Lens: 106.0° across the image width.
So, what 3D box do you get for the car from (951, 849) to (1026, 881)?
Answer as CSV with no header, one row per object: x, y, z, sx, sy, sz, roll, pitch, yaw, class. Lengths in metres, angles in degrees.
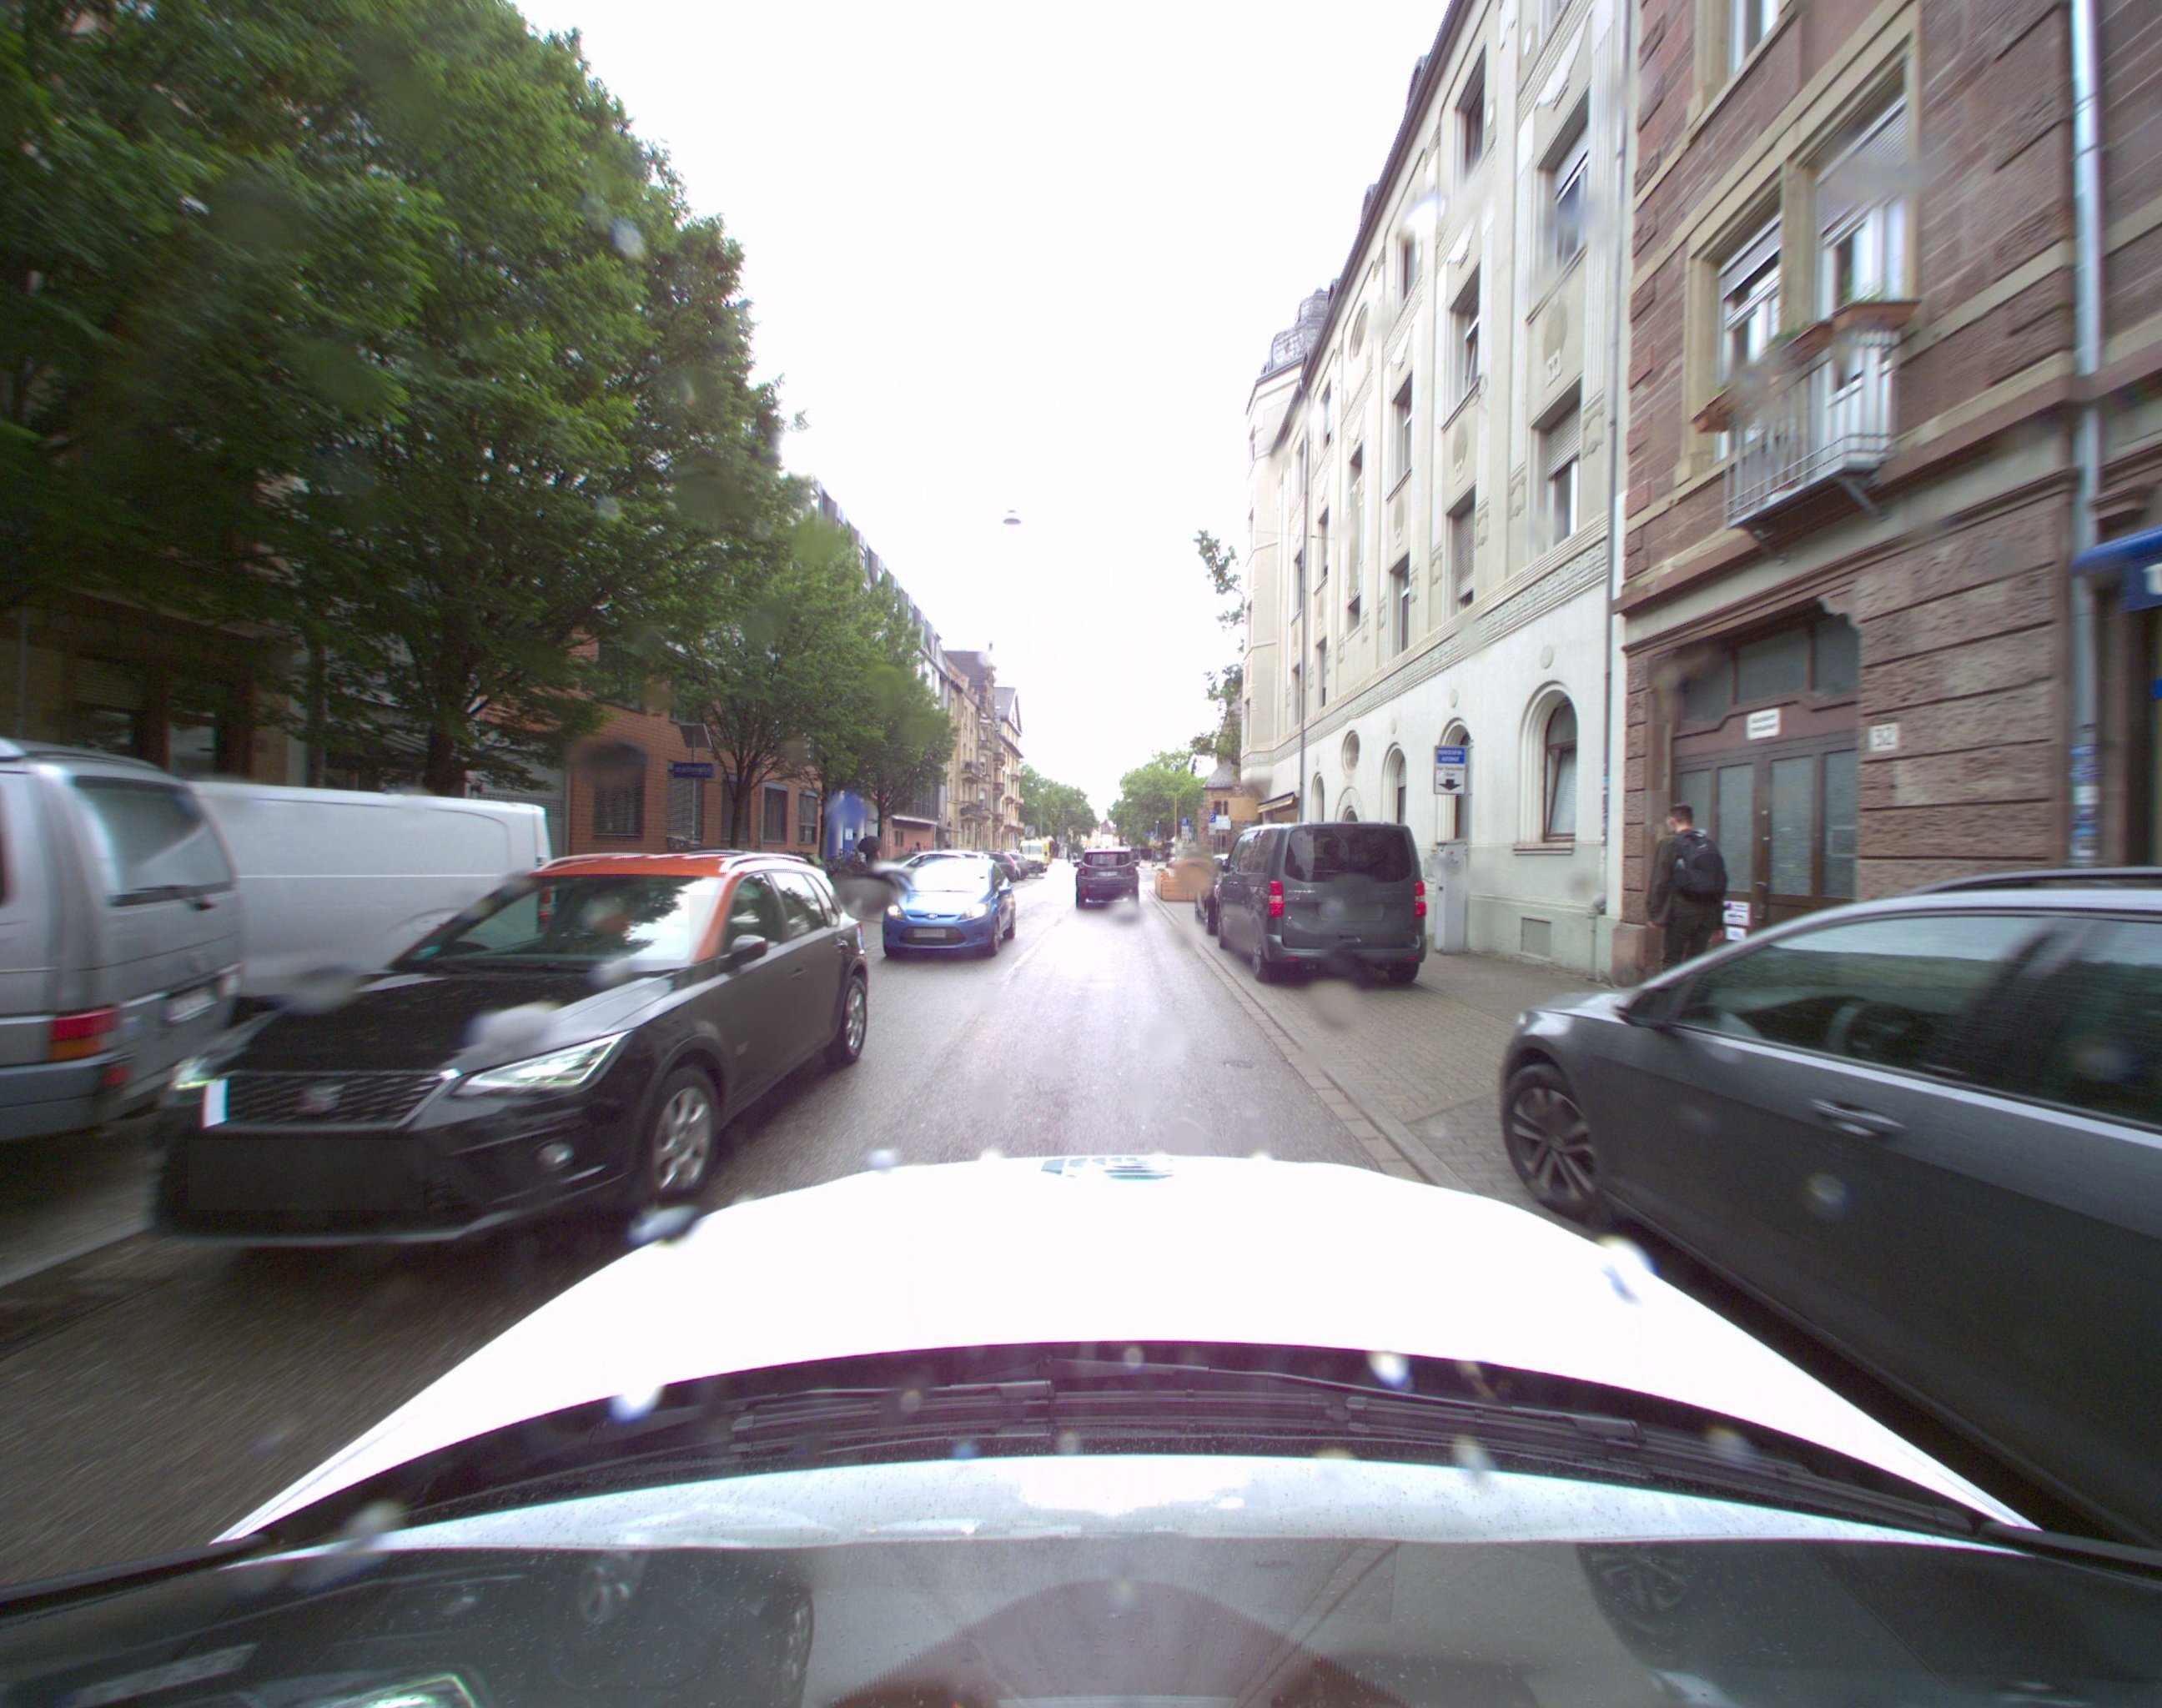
-4.714,0.560,41.640,3.395,1.507,1.665,2,0,-29,car

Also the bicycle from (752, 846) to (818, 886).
-9.870,0.391,27.191,1.890,1.152,0.553,5,0,-1,bicycle

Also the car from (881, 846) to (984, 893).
-5.452,0.531,29.970,3.397,1.654,1.618,0,0,-31,car

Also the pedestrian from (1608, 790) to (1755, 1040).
4.945,0.478,6.768,0.675,1.934,0.812,1,-2,9,pedestrian

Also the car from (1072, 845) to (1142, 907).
0.743,0.595,24.405,1.892,1.671,4.506,0,0,1,car

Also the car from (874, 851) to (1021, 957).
-2.017,0.706,13.383,1.664,1.465,4.004,0,0,1,car

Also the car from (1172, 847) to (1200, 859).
21.808,-0.208,169.332,5.875,2.334,2.063,0,0,5,car

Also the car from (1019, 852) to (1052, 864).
-5.489,0.443,98.367,3.435,1.316,1.762,3,-1,-32,car

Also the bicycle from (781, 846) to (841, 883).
-9.837,0.375,29.654,1.890,1.152,0.553,5,0,-1,bicycle

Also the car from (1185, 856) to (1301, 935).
3.145,0.750,16.493,1.704,1.400,3.706,0,0,1,car

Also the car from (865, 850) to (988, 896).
-5.165,0.586,27.419,3.728,1.452,1.668,0,0,-33,car

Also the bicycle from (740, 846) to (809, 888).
-9.814,0.404,26.096,1.890,1.152,0.553,5,0,-1,bicycle

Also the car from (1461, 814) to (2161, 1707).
2.614,0.717,1.718,1.834,1.545,4.004,0,0,1,car

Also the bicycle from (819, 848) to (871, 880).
-9.737,0.396,33.607,1.890,1.152,0.553,5,0,-1,bicycle

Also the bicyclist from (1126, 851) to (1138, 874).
3.061,0.497,49.126,0.702,1.403,1.172,0,0,2,bicyclist

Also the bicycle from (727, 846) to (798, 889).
-9.869,0.426,25.273,1.890,1.152,0.553,5,0,-1,bicycle

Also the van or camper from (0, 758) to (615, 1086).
-6.515,0.386,6.245,4.721,1.953,2.310,3,1,-40,van or camper

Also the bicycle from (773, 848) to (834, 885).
-9.890,0.449,29.030,1.890,1.152,0.553,5,0,-1,bicycle

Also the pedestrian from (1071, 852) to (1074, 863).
-1.199,0.484,112.836,0.466,1.585,0.752,1,0,1,pedestrian

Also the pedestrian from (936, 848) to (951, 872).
-9.120,0.398,54.066,0.705,1.551,0.609,3,0,9,pedestrian

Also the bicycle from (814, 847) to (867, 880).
-9.714,0.373,32.894,1.890,1.152,0.553,5,0,-1,bicycle

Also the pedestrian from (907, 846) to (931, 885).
-7.499,0.514,37.733,0.820,1.752,0.759,3,0,9,pedestrian

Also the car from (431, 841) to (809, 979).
-5.869,0.653,10.621,3.997,1.447,1.748,3,0,-38,car

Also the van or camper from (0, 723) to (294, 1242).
-6.159,0.387,2.881,4.462,1.975,1.764,3,-1,-31,van or camper

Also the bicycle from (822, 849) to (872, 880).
-10.125,0.440,35.217,1.890,1.152,0.553,5,0,-1,bicycle

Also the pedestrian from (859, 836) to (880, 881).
-8.171,0.166,31.468,0.609,1.707,0.433,1,-2,2,pedestrian

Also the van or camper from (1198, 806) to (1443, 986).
2.894,0.441,11.158,2.014,1.891,5.057,0,0,2,van or camper

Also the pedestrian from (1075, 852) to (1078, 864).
-0.637,0.554,113.437,0.466,1.585,0.752,1,0,1,pedestrian

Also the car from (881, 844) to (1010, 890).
-5.453,0.541,32.865,4.539,1.539,2.315,5,-3,-31,car

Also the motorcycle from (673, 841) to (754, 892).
-10.182,0.347,22.612,1.873,1.225,0.657,5,0,5,motorcycle

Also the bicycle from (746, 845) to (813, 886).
-9.849,0.373,26.632,1.890,1.152,0.553,5,0,-1,bicycle

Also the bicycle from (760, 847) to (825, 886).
-9.797,0.407,27.662,1.890,1.152,0.553,5,0,-1,bicycle

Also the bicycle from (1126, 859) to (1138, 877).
3.058,0.862,49.125,0.702,1.054,1.814,0,0,2,bicycle

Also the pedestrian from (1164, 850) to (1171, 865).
9.810,0.374,92.281,0.688,1.711,0.684,0,0,2,pedestrian

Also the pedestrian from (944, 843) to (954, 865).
-10.870,0.002,67.155,0.663,1.757,0.791,0,0,-22,pedestrian

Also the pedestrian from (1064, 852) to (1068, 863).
-2.081,0.493,112.129,0.466,1.585,0.659,1,0,1,pedestrian

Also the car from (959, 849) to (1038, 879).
-4.503,0.556,44.421,3.840,1.507,1.971,2,0,-29,car

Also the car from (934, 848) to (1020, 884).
-4.585,0.536,36.084,3.395,1.542,1.665,2,0,-29,car

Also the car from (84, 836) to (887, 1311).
-2.438,0.734,4.701,1.664,1.559,4.002,1,0,0,car

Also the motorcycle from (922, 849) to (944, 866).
-10.921,0.287,60.186,0.748,1.174,2.123,3,0,14,motorcycle

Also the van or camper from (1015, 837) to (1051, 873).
-3.707,0.189,64.079,2.113,2.531,6.876,-3,-2,2,van or camper

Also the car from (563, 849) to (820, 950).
-6.290,0.643,13.326,3.498,1.435,1.632,0,0,-41,car

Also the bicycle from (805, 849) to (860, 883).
-9.736,0.448,31.902,1.890,1.152,0.553,5,0,-1,bicycle

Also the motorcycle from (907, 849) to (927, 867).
-11.240,0.270,55.916,0.750,1.174,2.117,3,0,3,motorcycle
